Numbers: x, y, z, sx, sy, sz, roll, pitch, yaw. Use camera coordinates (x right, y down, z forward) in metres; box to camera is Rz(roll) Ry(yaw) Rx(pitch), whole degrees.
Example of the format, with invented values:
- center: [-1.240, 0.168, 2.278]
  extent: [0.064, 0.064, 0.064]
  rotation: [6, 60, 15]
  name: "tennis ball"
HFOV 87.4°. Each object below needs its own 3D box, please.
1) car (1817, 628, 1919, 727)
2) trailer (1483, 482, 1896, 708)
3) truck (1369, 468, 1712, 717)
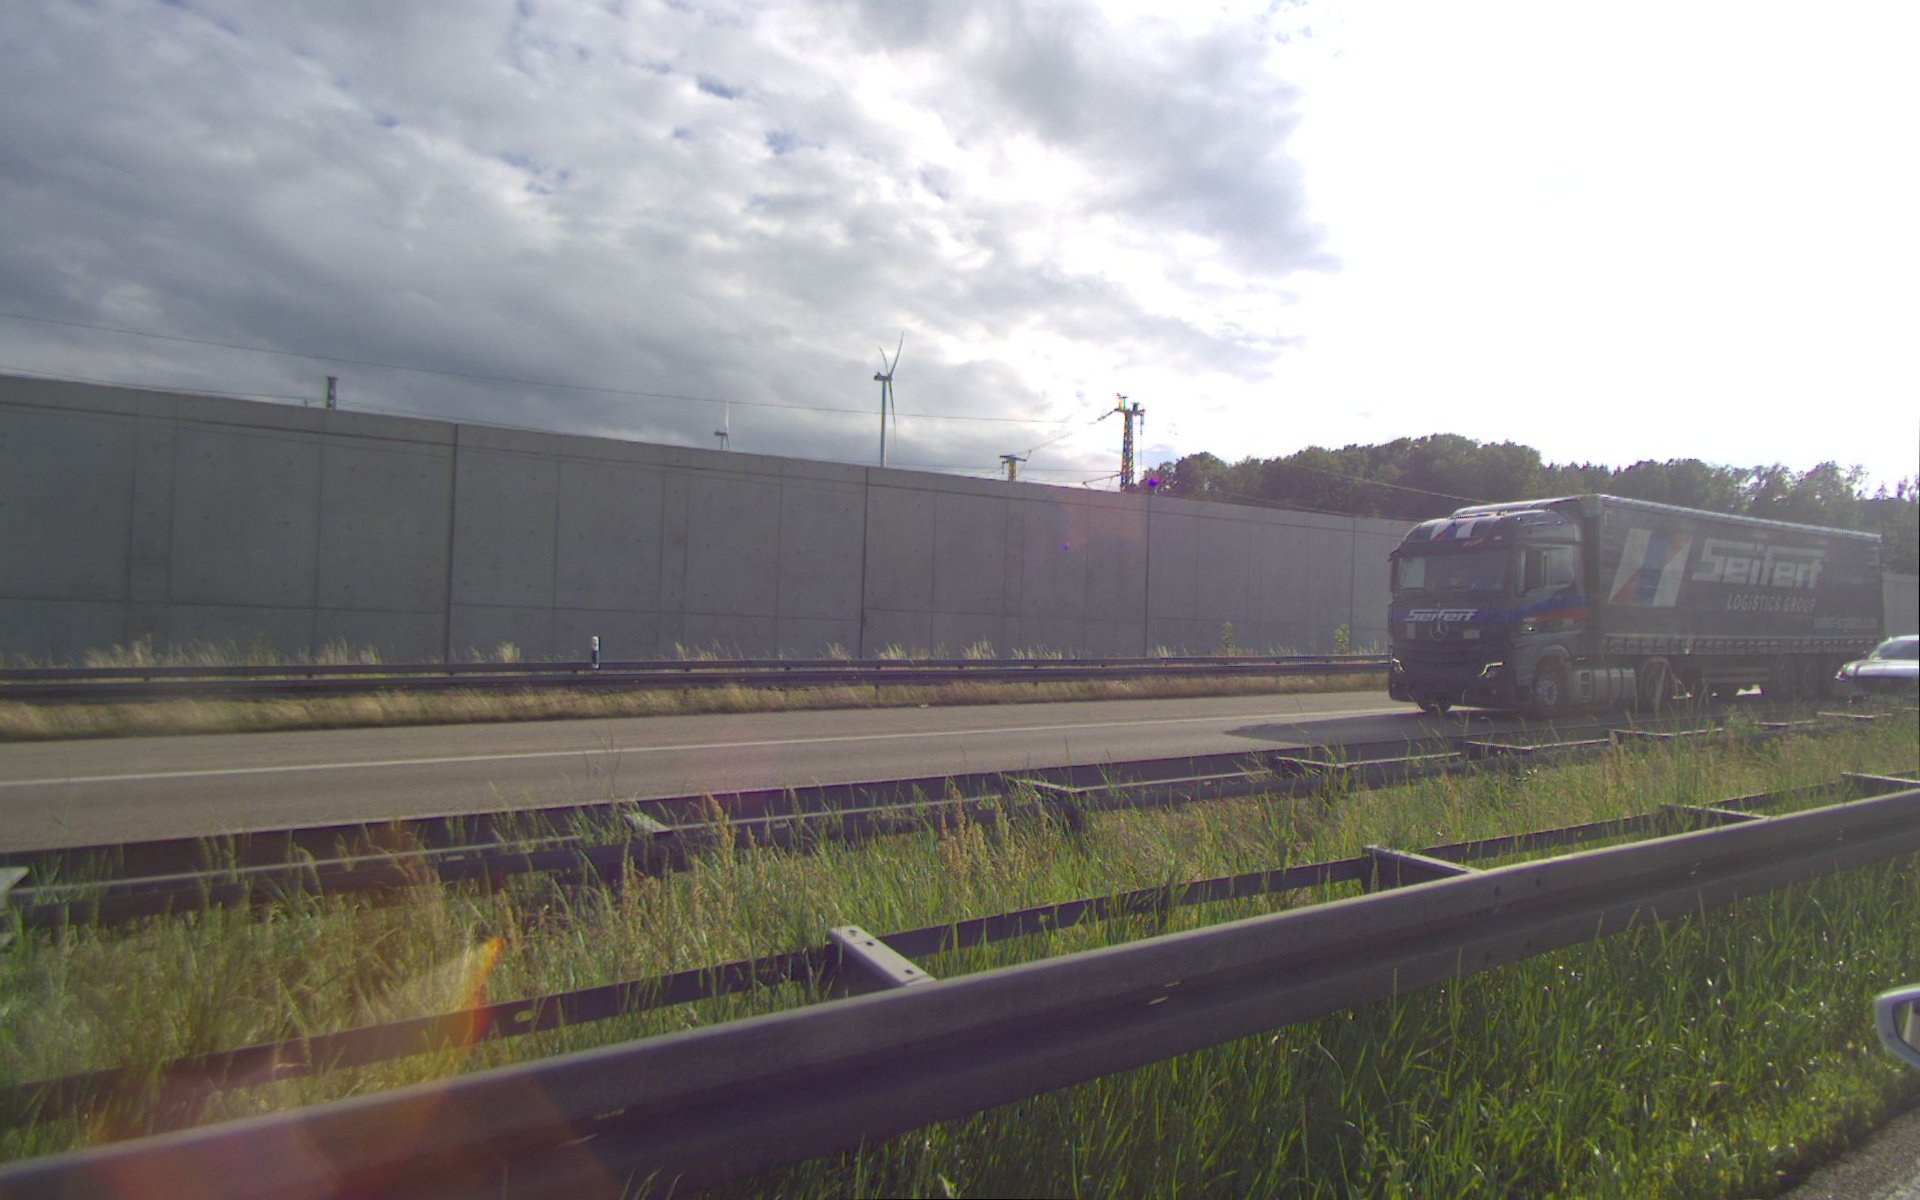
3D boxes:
- center: [18.442, 1.437, 18.965]
  extent: [5.051, 1.653, 1.879]
  rotation: [2, 0, -30]
  name: "car"
- center: [17.088, 0.112, 22.939]
  extent: [12.753, 4.169, 2.746]
  rotation: [2, -1, -30]
  name: "trailer"
- center: [11.452, -0.017, 19.641]
  extent: [6.872, 4.144, 2.741]
  rotation: [2, -1, -30]
  name: "truck"
